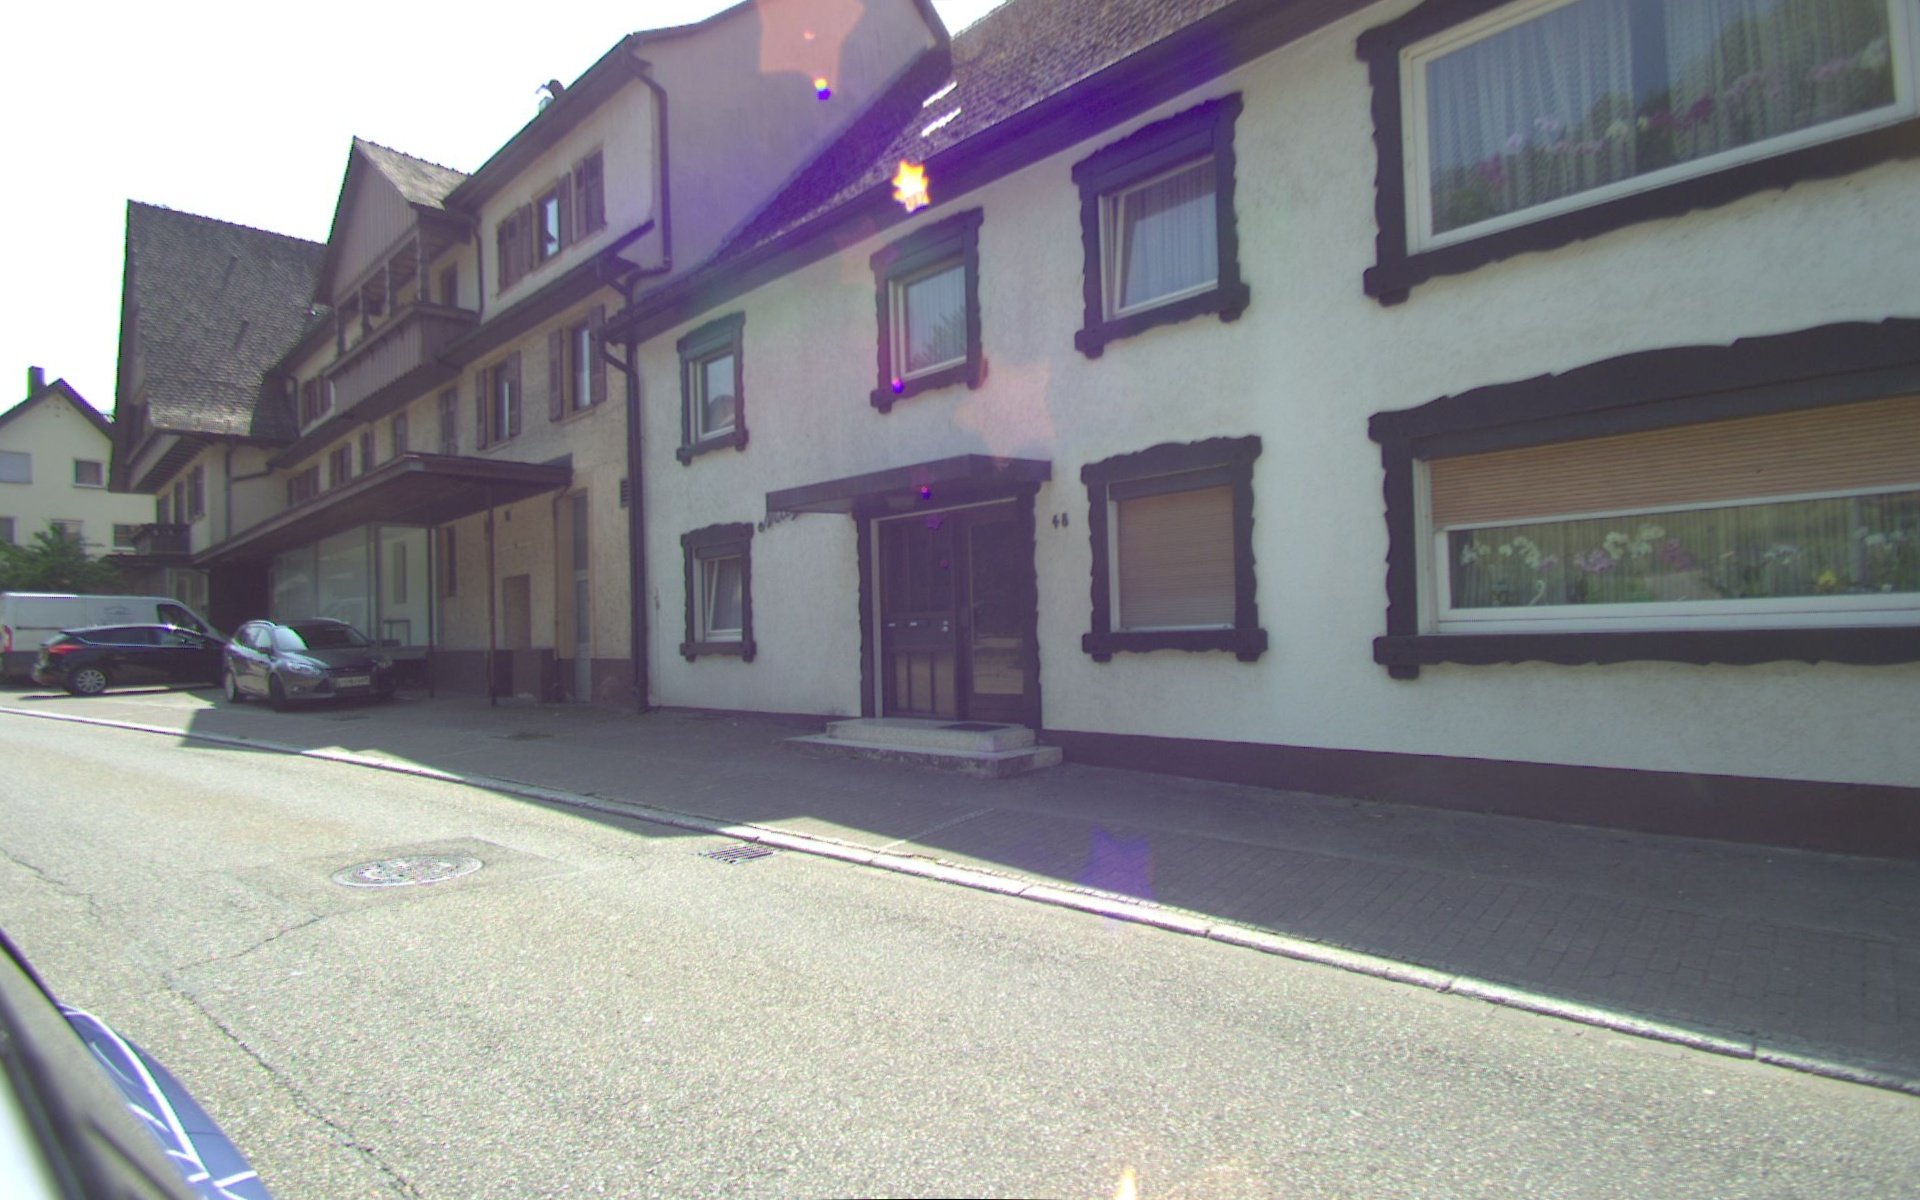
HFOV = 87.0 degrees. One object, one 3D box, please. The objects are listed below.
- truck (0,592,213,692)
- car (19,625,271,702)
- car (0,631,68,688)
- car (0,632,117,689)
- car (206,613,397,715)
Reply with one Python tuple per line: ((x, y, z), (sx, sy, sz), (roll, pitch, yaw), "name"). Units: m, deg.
((-21.509, 0.971, 25.342), (1.997, 2.283, 4.125), (-2, -1, 38), "truck")
((-17.669, 1.309, 22.088), (1.753, 1.514, 4.051), (-2, -2, 42), "car")
((-27.931, 1.674, 28.628), (3.941, 1.584, 1.578), (3, -4, -45), "car")
((-25.223, 1.606, 26.998), (1.626, 1.464, 3.947), (-2, -4, 39), "car")
((-11.711, 1.059, 17.888), (4.283, 1.565, 1.751), (-2, -1, 41), "car")
